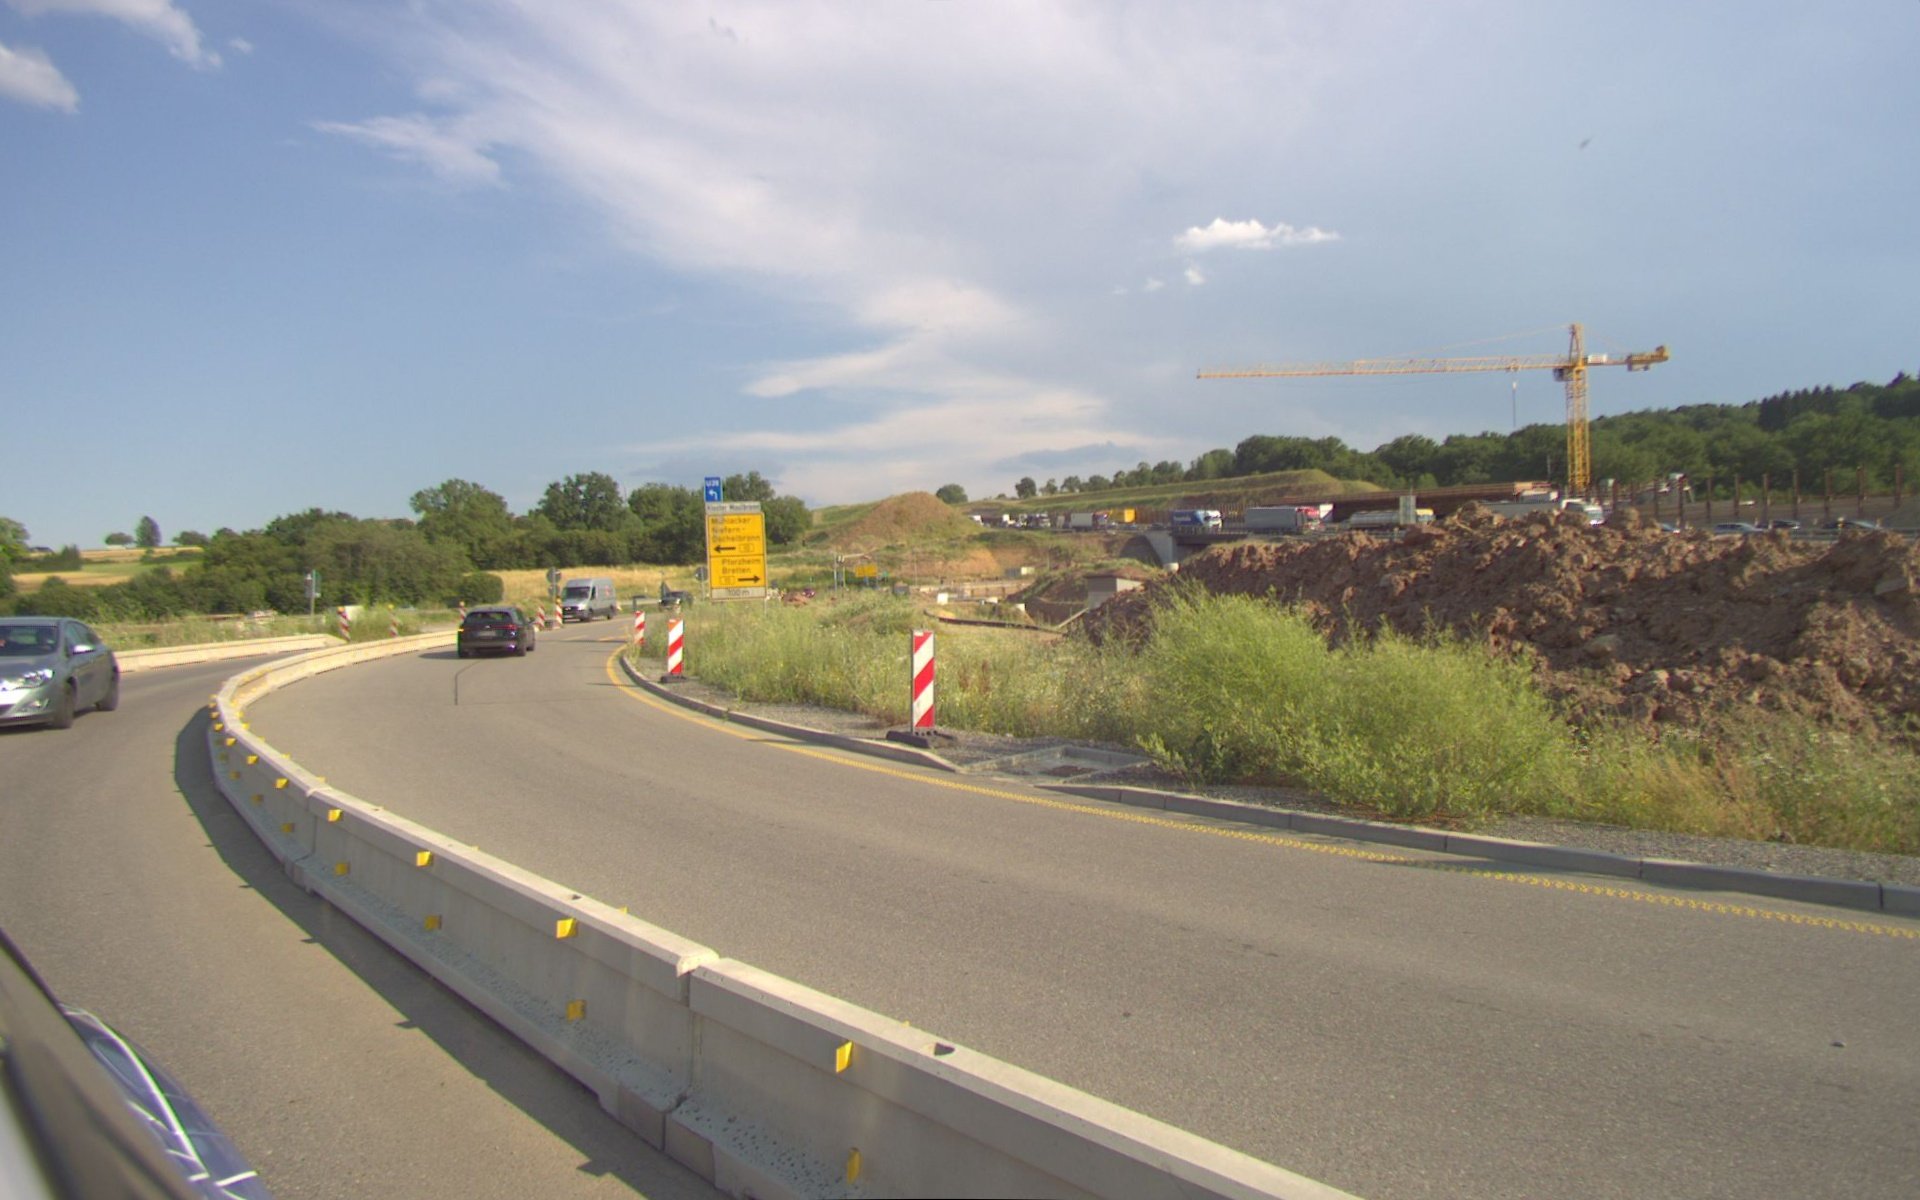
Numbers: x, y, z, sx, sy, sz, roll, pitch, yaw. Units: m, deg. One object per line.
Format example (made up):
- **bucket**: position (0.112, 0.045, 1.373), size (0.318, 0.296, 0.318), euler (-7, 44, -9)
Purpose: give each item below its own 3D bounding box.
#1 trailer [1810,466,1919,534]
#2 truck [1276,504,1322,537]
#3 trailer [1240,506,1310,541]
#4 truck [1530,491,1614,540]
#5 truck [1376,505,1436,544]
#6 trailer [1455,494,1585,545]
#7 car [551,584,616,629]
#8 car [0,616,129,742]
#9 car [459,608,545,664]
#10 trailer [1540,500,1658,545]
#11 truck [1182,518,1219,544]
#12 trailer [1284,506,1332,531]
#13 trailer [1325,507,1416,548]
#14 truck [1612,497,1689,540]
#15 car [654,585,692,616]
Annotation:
- **trailer**: position (69.366, -7.316, 72.057), size (3.061, 4.346, 14.292), euler (-2, 1, -15)
- **truck**: position (49.943, -11.658, 149.429), size (3.061, 4.346, 6.916), euler (-2, 1, -14)
- **trailer**: position (48.270, -11.717, 155.917), size (3.061, 4.346, 14.292), euler (-2, 1, -15)
- **truck**: position (61.280, -8.439, 101.536), size (3.061, 4.346, 6.916), euler (-2, 1, -14)
- **truck**: position (55.477, -9.375, 126.042), size (3.061, 4.346, 6.916), euler (-2, 1, -14)
- **trailer**: position (59.507, -8.490, 108.314), size (3.061, 4.346, 14.292), euler (-2, 1, -15)
- **car**: position (-22.611, 0.318, 61.054), size (1.890, 2.519, 5.801), euler (-2, 1, -2)
- **car**: position (-12.974, 1.001, 13.813), size (1.719, 1.495, 4.265), euler (-2, 0, -29)
- **car**: position (-13.758, 1.021, 30.626), size (1.686, 1.530, 4.528), euler (0, 0, -16)
- **trailer**: position (76.854, -9.205, 122.375), size (3.063, 4.346, 14.284), euler (-2, 1, -11)
- **truck**: position (42.089, -12.089, 177.374), size (2.481, 4.031, 8.575), euler (-2, 1, -13)
- **trailer**: position (61.125, -14.230, 178.071), size (1.939, 3.540, 11.206), euler (-2, 1, -14)
- **trailer**: position (53.689, -9.421, 133.052), size (3.061, 4.346, 14.292), euler (-2, 1, -15)
- **truck**: position (78.262, -9.209, 114.875), size (3.063, 4.346, 6.913), euler (-2, 1, -11)
- **car**: position (-23.401, 0.004, 82.661), size (1.851, 2.421, 3.998), euler (-2, 1, 2)
